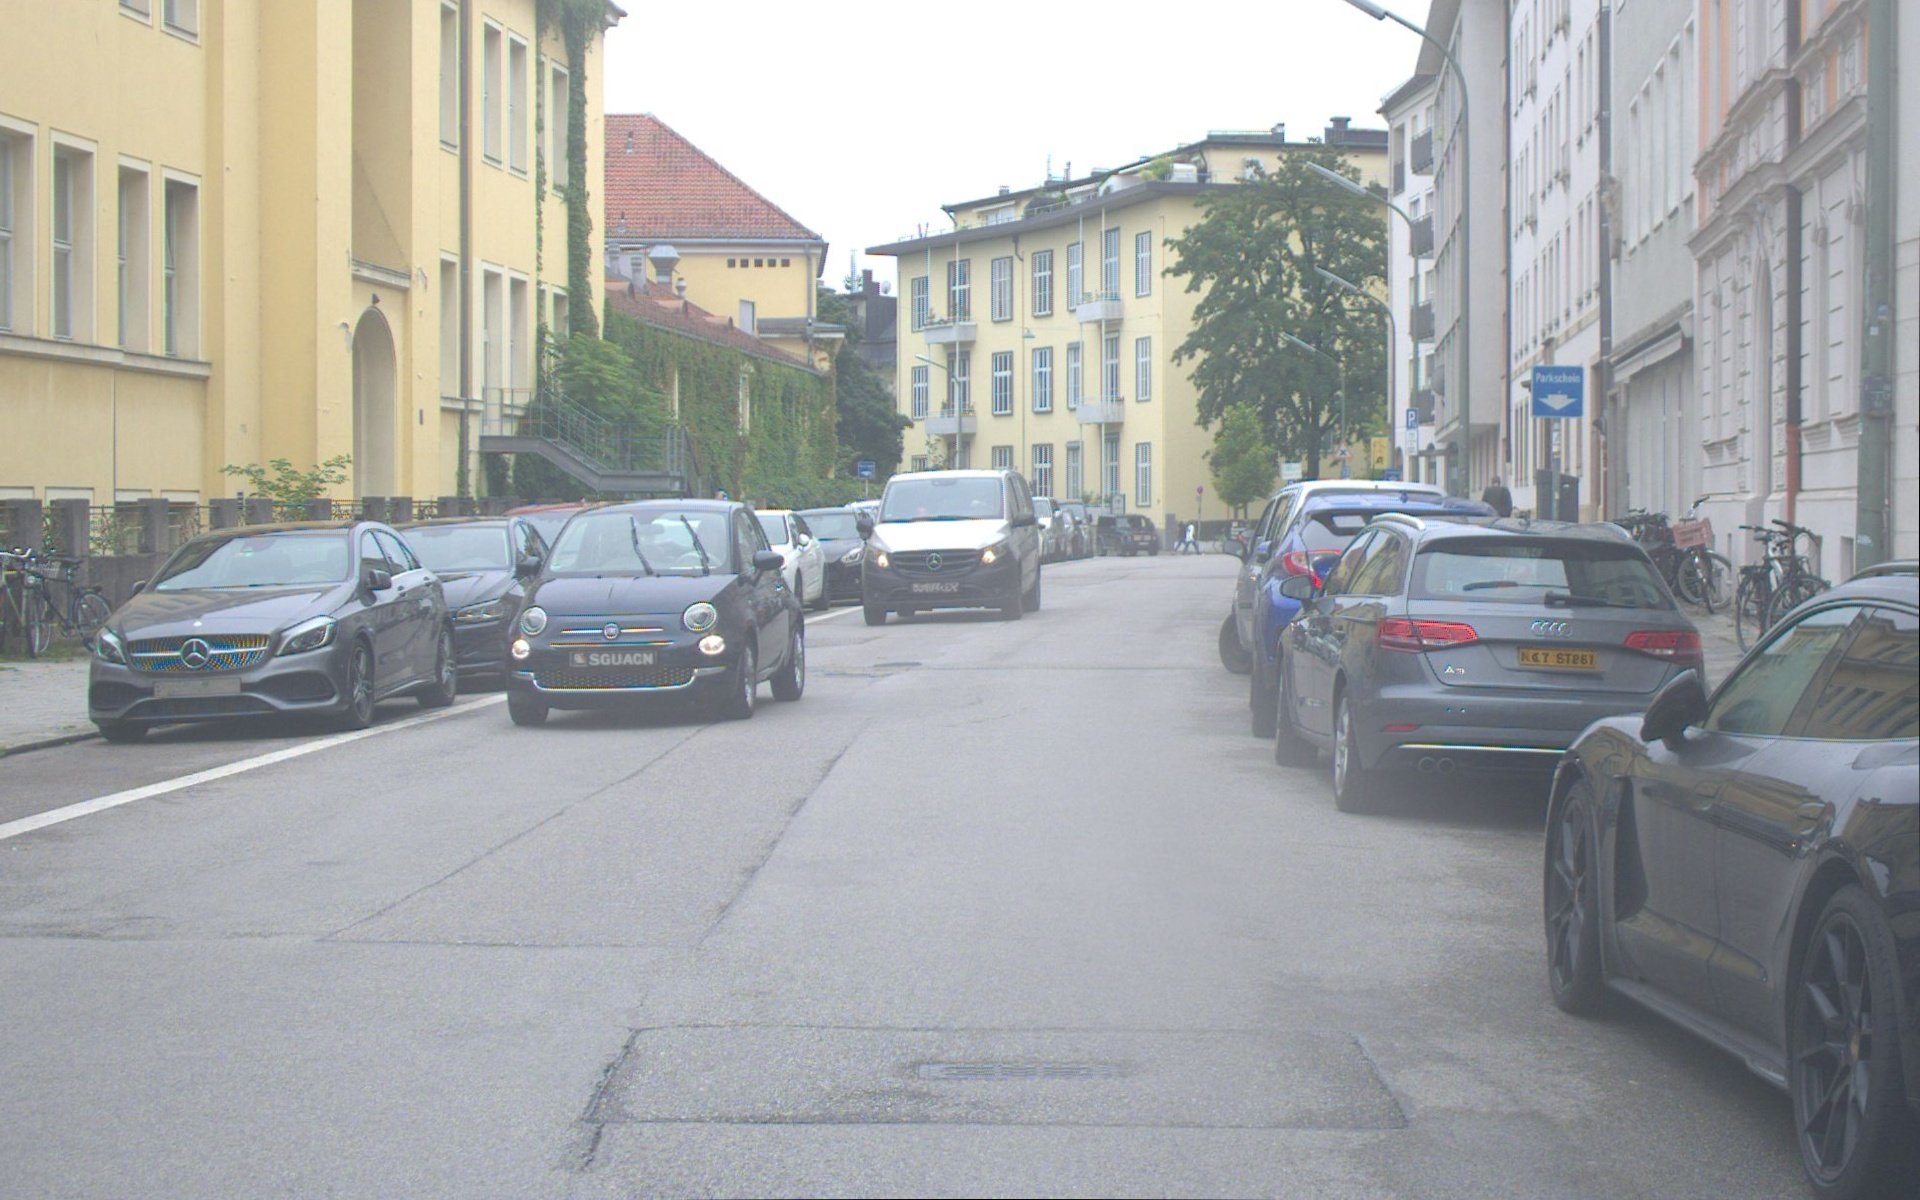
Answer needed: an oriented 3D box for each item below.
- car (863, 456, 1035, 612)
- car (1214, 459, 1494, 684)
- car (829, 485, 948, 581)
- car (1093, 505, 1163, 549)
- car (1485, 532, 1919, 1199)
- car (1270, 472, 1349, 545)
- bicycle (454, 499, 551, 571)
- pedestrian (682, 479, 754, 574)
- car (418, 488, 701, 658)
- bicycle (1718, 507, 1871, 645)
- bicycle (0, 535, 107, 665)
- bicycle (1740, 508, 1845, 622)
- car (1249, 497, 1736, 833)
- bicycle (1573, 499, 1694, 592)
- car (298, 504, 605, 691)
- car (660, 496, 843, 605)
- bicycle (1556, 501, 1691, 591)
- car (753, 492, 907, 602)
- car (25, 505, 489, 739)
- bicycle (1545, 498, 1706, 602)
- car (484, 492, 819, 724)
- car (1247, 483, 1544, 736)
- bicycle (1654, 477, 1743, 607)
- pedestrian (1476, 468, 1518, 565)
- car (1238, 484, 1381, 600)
[{"bbox_3d":[-0.069,-0.845,43.284,1.915,1.842,5.321,0,1,3],"label":"car"},{"bbox_3d":[3.122,-0.272,27.905,1.681,1.667,3.805,1,2,-2],"label":"car"},{"bbox_3d":[-1.262,-1.227,62.517,1.746,1.628,4.856,-2,1,3],"label":"car"},{"bbox_3d":[7.746,-3.374,158.847,1.762,1.868,4.380,3,1,-16],"label":"car"},{"bbox_3d":[2.774,0.542,8.912,1.954,1.409,5.114,0,1,-1],"label":"car"},{"bbox_3d":[12.339,-3.208,121.600,2.079,2.226,5.244,4,-1,0],"label":"car"},{"bbox_3d":[-8.190,-1.167,61.575,1.626,1.264,0.527,-1,2,7],"label":"bicycle"},{"bbox_3d":[-4.461,-1.359,63.459,0.902,1.713,1.057,-1,2,23],"label":"pedestrian"},{"bbox_3d":[-3.877,-0.300,34.073,1.958,1.477,4.529,-3,1,3],"label":"car"},{"bbox_3d":[6.990,-0.219,28.888,0.722,1.108,1.995,0,2,-2],"label":"bicycle"},{"bbox_3d":[-8.805,-0.018,32.955,0.535,1.181,2.106,0,2,6],"label":"bicycle"},{"bbox_3d":[7.767,-0.342,32.129,0.595,1.020,1.817,-1,2,3],"label":"bicycle"},{"bbox_3d":[2.606,0.232,17.839,1.705,1.449,4.403,2,2,-1],"label":"car"},{"bbox_3d":[8.226,-0.671,41.954,0.621,1.086,1.810,0,2,41],"label":"bicycle"},{"bbox_3d":[-4.259,-0.074,29.434,1.749,1.400,4.355,-3,1,2],"label":"car"},{"bbox_3d":[-2.815,-0.701,47.298,1.785,1.426,4.651,0,1,6],"label":"car"},{"bbox_3d":[8.221,-0.671,42.555,1.842,1.064,0.516,-2,2,-36],"label":"bicycle"},{"bbox_3d":[-1.937,-0.829,52.464,1.699,1.492,4.148,-4,1,6],"label":"car"},{"bbox_3d":[-4.846,0.098,24.432,2.014,1.413,4.615,-3,1,4],"label":"car"},{"bbox_3d":[7.697,-0.585,39.717,2.086,1.135,0.584,-3,2,-38],"label":"bicycle"},{"bbox_3d":[-2.061,0.006,23.957,1.661,1.469,3.707,-1,1,5],"label":"car"},{"bbox_3d":[2.799,-0.015,22.626,1.742,1.489,4.547,0,2,6],"label":"car"},{"bbox_3d":[8.112,-0.659,37.803,0.595,1.380,2.092,-1,2,3],"label":"bicycle"},{"bbox_3d":[9.962,-1.550,63.788,0.723,1.757,0.904,0,-1,6],"label":"pedestrian"},{"bbox_3d":[4.479,-0.754,43.642,1.688,1.397,4.363,0,1,7],"label":"car"}]
